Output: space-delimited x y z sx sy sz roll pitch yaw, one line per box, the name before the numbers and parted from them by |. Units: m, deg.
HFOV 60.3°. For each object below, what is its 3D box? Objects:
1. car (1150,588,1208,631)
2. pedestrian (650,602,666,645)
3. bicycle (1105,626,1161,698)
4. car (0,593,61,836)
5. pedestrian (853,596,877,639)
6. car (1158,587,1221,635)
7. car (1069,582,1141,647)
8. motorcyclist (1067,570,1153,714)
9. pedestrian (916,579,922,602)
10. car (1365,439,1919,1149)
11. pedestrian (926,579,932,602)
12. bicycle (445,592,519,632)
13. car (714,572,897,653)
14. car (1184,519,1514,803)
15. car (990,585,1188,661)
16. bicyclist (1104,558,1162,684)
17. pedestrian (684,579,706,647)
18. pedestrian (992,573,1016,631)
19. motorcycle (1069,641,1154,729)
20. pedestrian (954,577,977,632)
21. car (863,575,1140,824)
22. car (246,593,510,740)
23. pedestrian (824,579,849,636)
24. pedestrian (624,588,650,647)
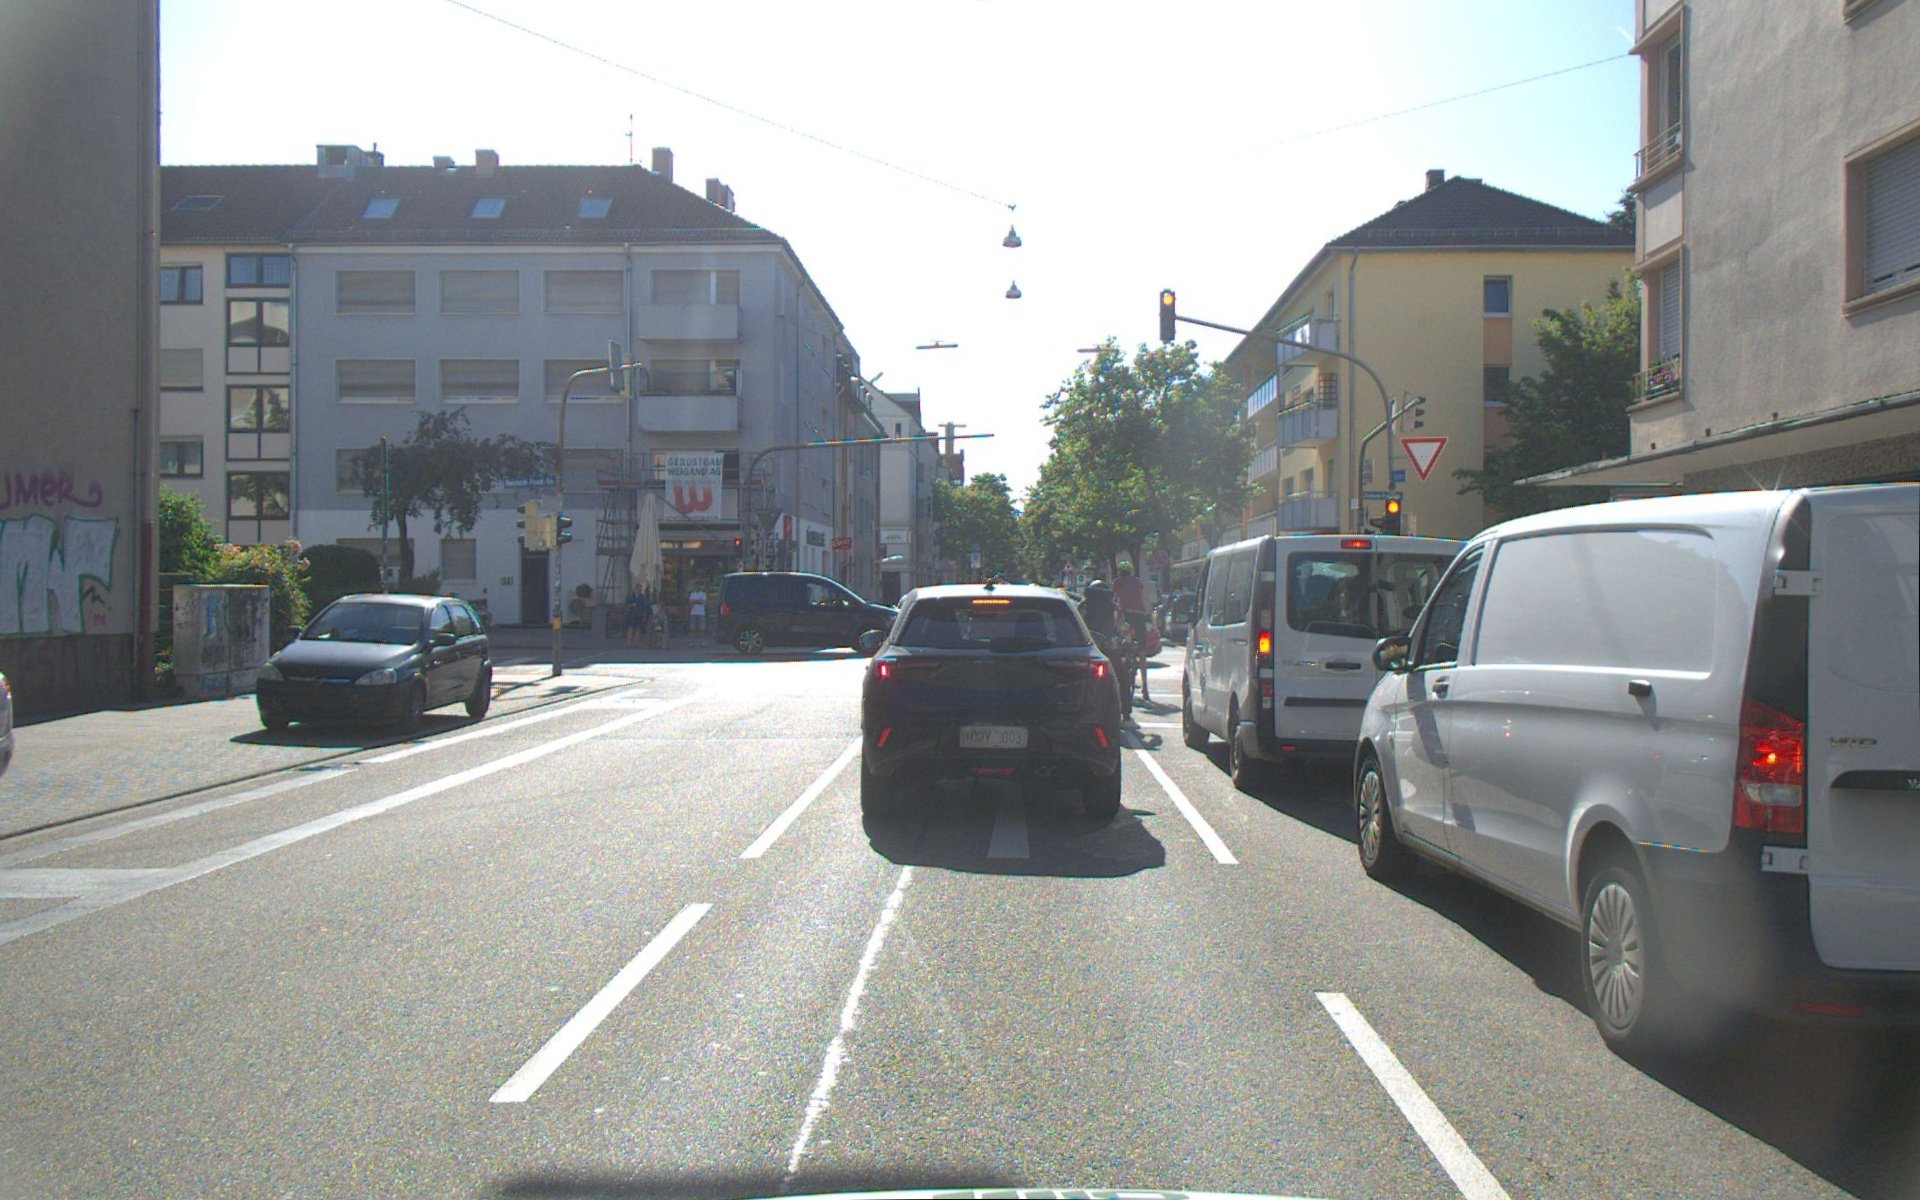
car | 7.618 0.309 57.815 1.600 1.458 4.001 0 0 2
pedestrian | -7.990 0.622 43.798 0.348 1.111 0.462 0 0 -1
bicycle | 2.449 0.857 23.593 0.565 0.920 2.301 0 0 0
car | -6.830 0.702 8.466 1.682 1.491 4.816 2 0 1
pedestrian | -2.856 0.515 49.897 0.692 1.275 0.802 0 0 0
car | 7.327 0.327 53.034 1.600 1.458 3.957 0 0 2
car | 4.080 0.383 47.020 1.862 1.758 4.001 0 0 2
motorcyclist | 1.633 0.446 18.185 0.846 1.528 1.160 0 0 1
pedestrian | -3.011 -0.702 122.438 0.393 1.704 0.418 0 0 1
car | 3.164 0.518 6.939 1.798 1.901 4.997 1 0 2
pedestrian | -2.299 -0.676 122.400 0.393 1.704 0.418 0 0 1
bicycle | -14.317 0.354 49.555 2.065 1.193 0.736 0 0 -22
car | -3.482 0.262 37.122 3.983 1.758 1.905 0 0 -8
car | 3.109 0.412 14.274 1.952 2.014 4.897 0 0 3
car | 2.573 0.446 33.591 3.904 1.489 1.831 0 0 2
bicyclist | 2.452 0.281 23.574 0.675 1.742 1.414 0 0 0
pedestrian | -7.104 0.355 44.387 0.550 1.806 0.583 0 0 -7
pedestrian | 1.329 0.065 49.705 0.692 1.730 0.802 0 0 0
motorcycle | 1.641 0.910 18.187 0.808 0.860 1.885 0 0 1
pedestrian | 0.169 0.143 49.703 0.666 1.634 0.762 0 0 0
car | 0.262 0.613 12.420 1.734 1.557 4.000 0 0 0
car | -6.459 0.670 18.758 1.583 1.450 3.711 1 0 1
pedestrian | -3.721 0.224 49.910 0.692 1.707 0.802 0 0 0
pedestrian | -8.566 0.470 43.826 0.572 1.547 0.649 0 0 -1
